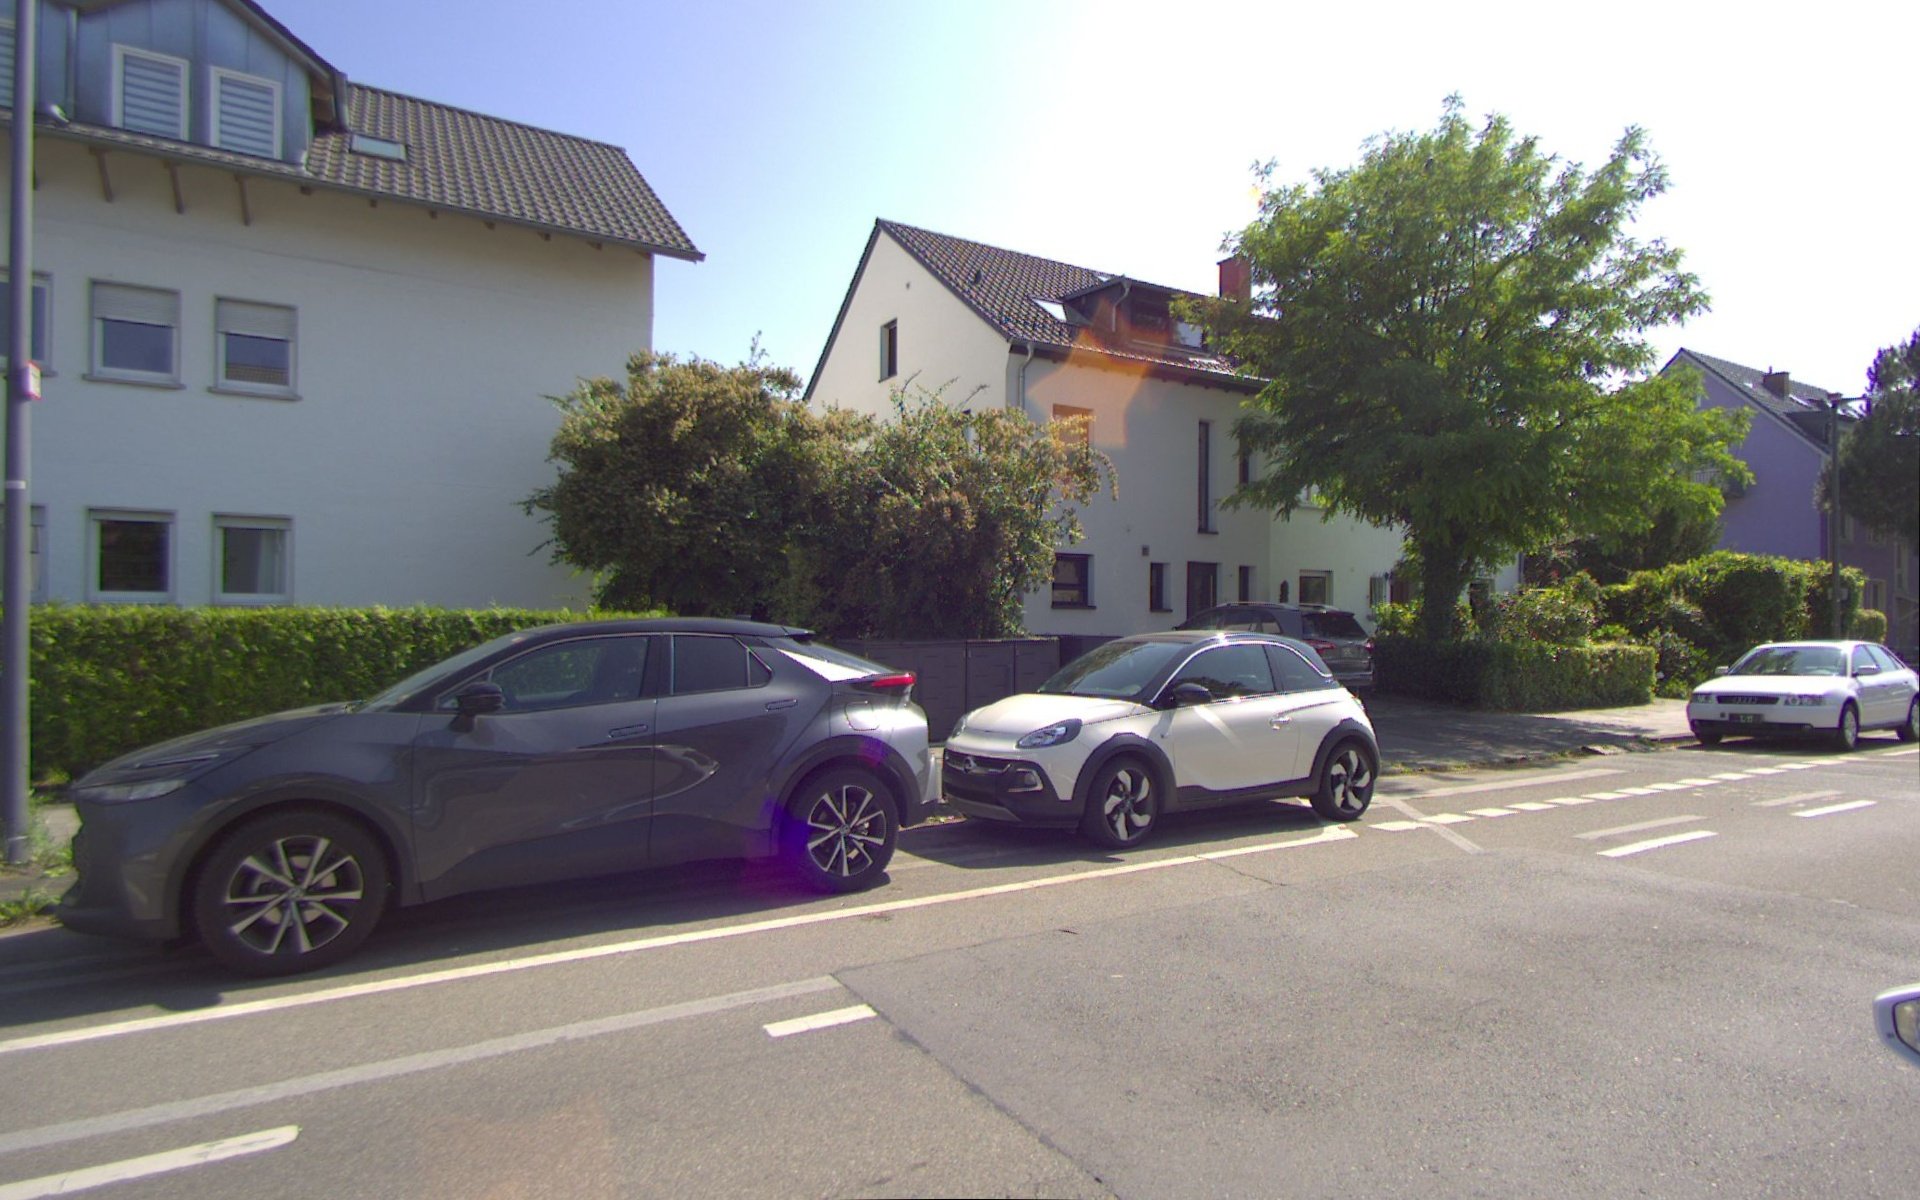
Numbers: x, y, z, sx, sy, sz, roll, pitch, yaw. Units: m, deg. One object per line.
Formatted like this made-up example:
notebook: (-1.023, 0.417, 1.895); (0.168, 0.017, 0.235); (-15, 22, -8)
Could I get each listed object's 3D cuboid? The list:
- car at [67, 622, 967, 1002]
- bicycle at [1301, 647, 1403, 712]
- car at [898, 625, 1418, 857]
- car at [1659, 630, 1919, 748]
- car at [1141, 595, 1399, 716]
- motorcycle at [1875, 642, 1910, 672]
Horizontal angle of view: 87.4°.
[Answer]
car: (-2.143, 0.881, 5.706); (4.063, 1.459, 1.777); (1, -3, -31)
bicycle: (7.874, 1.567, 20.147); (2.225, 1.224, 0.688); (1, -2, -30)
car: (1.657, 0.952, 8.130); (3.953, 1.459, 1.777); (1, -3, -30)
car: (11.945, 1.188, 14.319); (3.954, 1.458, 1.777); (1, -4, -31)
car: (5.135, 0.867, 17.155); (1.976, 1.783, 3.969); (0, -1, -29)
motorcycle: (32.860, 1.990, 35.421); (0.632, 1.004, 2.348); (-1, -2, 36)
